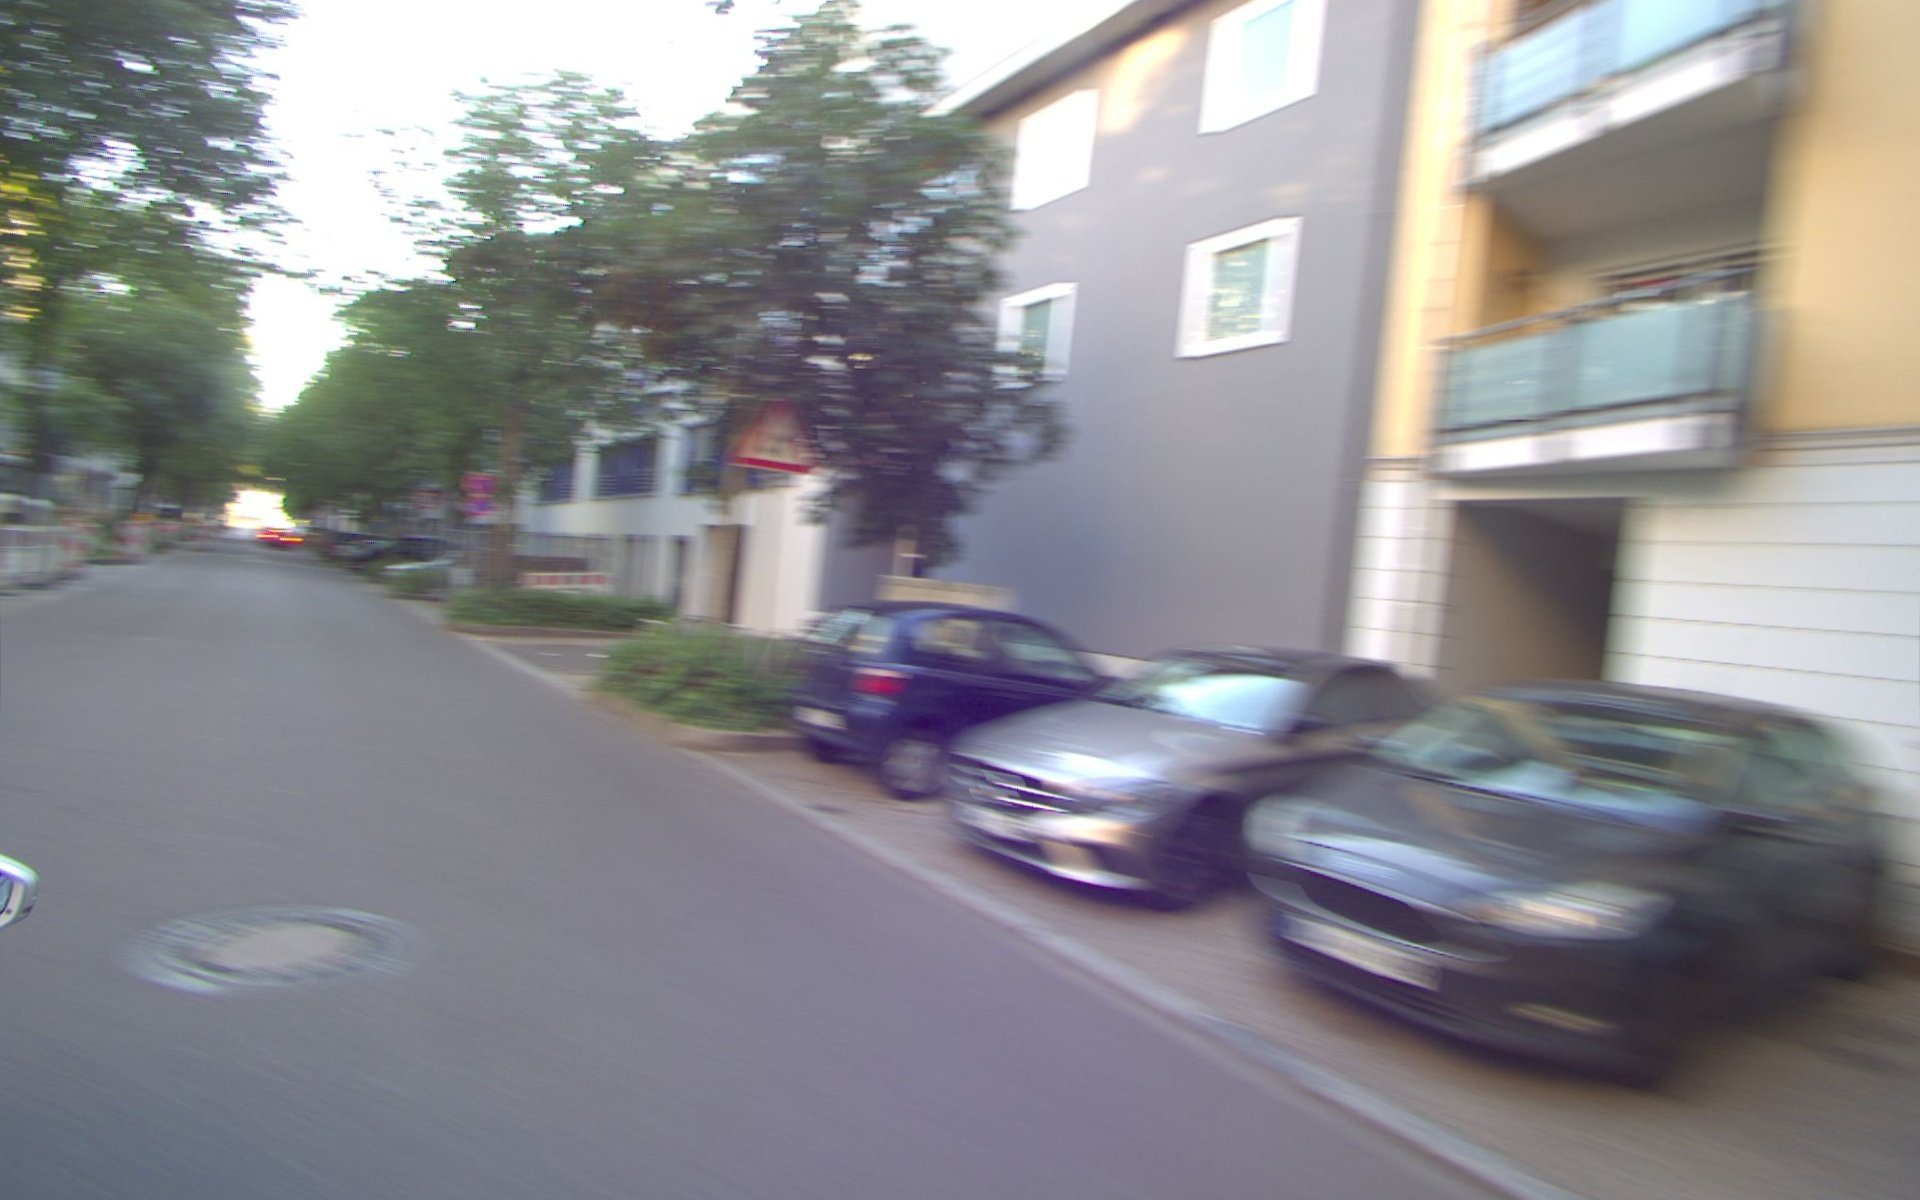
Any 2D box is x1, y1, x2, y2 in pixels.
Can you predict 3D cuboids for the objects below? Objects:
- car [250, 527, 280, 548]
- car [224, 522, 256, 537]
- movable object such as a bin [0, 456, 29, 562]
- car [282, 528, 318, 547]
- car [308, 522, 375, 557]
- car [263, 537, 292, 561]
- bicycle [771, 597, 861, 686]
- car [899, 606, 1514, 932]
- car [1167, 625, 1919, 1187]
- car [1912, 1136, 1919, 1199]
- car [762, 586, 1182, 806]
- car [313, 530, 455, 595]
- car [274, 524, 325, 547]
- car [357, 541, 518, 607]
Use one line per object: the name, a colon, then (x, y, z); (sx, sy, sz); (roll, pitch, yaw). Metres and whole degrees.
car: (-57.243, -5.160, 82.851); (1.805, 1.450, 3.895); (7, 0, -37)
car: (-119.053, -11.696, 166.308); (3.975, 1.938, 1.755); (7, 0, -44)
movable object such as a bin: (-23.665, -2.284, 22.613); (3.647, 2.362, 2.556); (7, 0, -38)
car: (-89.626, -8.520, 136.621); (3.962, 2.038, 1.981); (7, 0, -35)
car: (-45.774, -4.480, 74.461); (3.966, 2.038, 1.980); (7, 0, -37)
car: (-47.881, -3.625, 70.593); (1.492, 1.434, 3.677); (6, 0, -36)
bicycle: (-2.199, 0.605, 15.208); (0.720, 1.188, 1.486); (1, 3, -35)
car: (1.903, 1.067, 7.085); (4.258, 1.526, 1.853); (7, 0, -38)
car: (3.142, 1.157, 5.066); (4.048, 1.582, 1.834); (7, 0, -39)
car: (4.596, 1.295, 3.048); (4.773, 1.725, 1.817); (7, 0, -39)
car: (0.159, 0.803, 9.074); (3.328, 1.546, 1.729); (4, 1, -36)
car: (-24.360, -1.560, 42.666); (4.944, 2.113, 1.721); (7, 0, -37)
car: (-65.719, -6.420, 100.153); (3.970, 1.617, 1.978); (7, 0, -40)
car: (-17.043, -0.840, 32.900); (4.408, 1.611, 1.614); (7, 0, -35)
